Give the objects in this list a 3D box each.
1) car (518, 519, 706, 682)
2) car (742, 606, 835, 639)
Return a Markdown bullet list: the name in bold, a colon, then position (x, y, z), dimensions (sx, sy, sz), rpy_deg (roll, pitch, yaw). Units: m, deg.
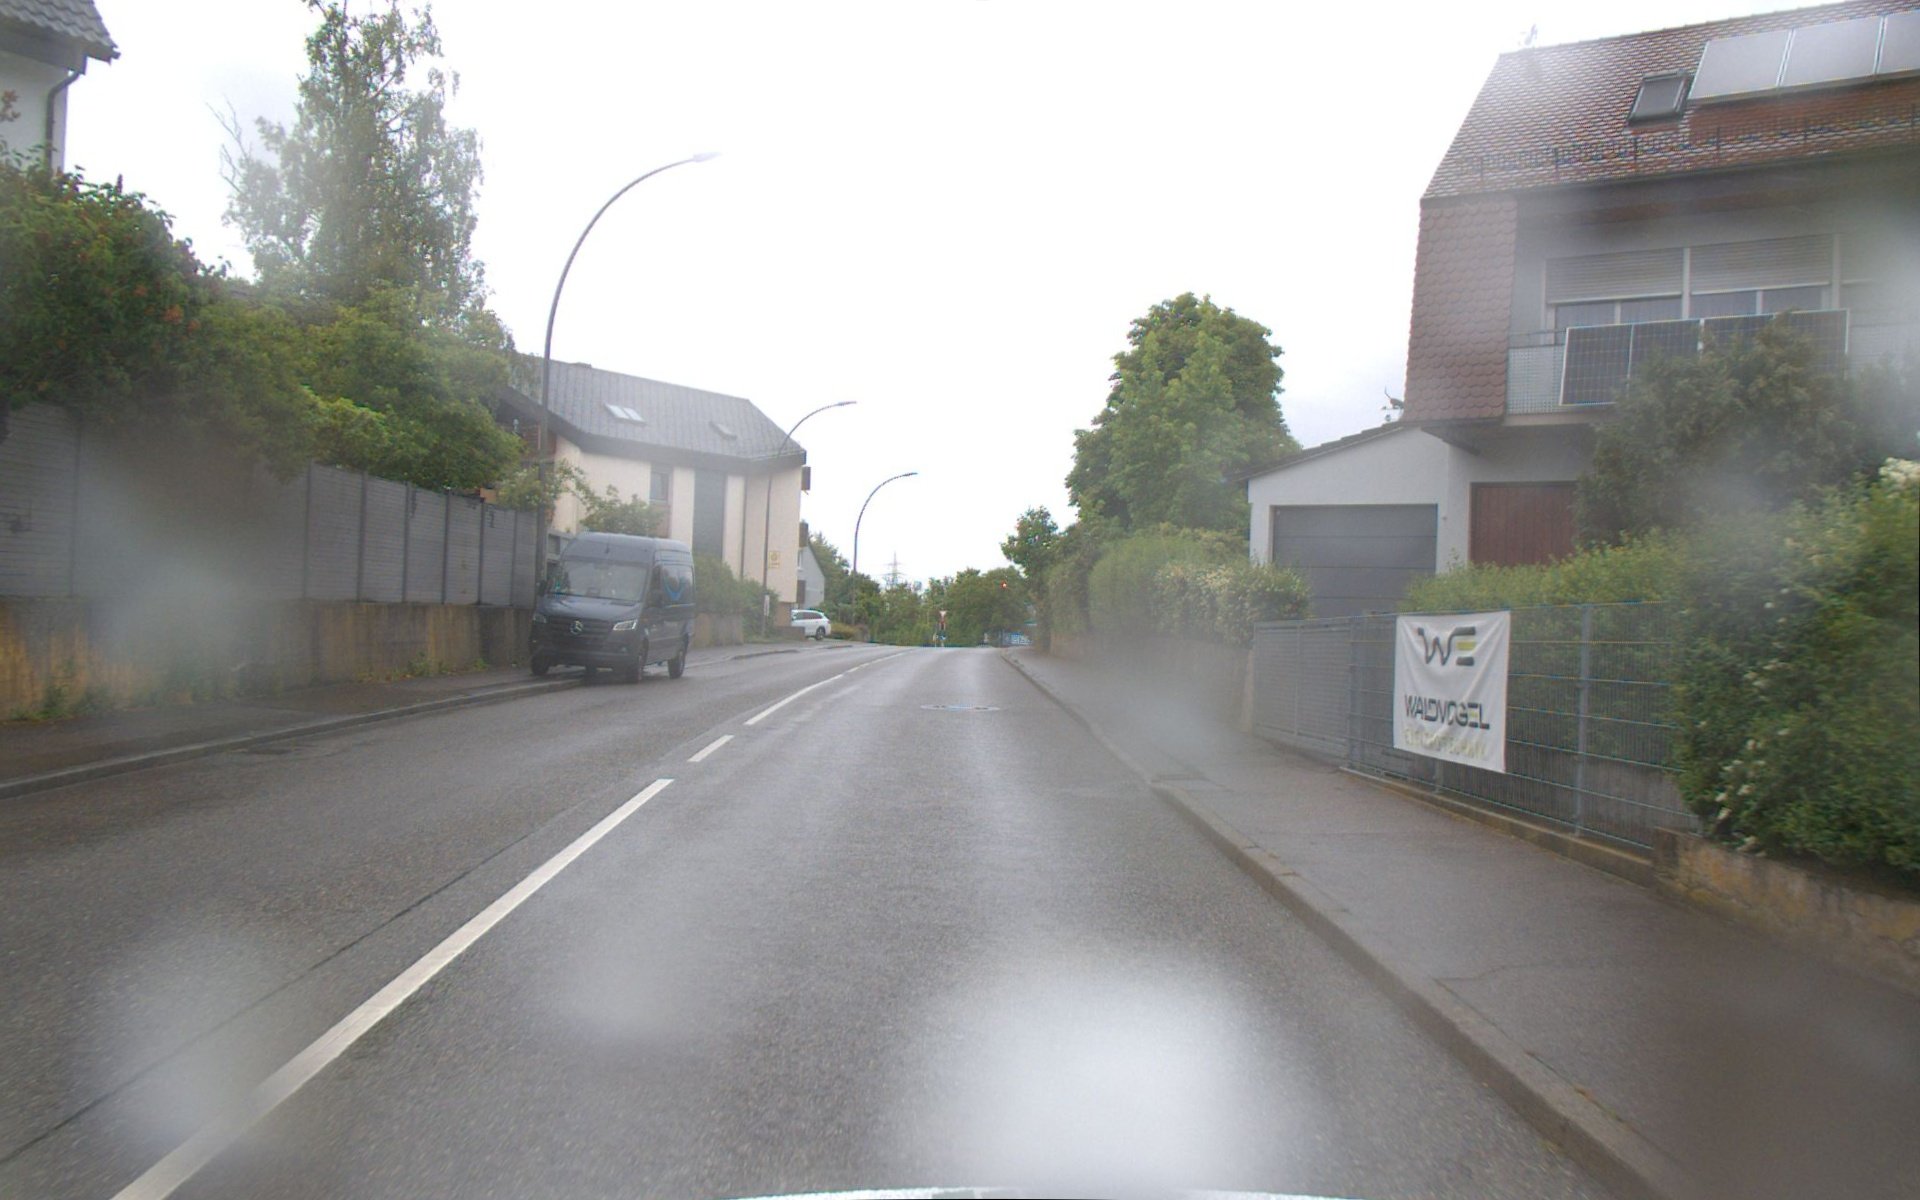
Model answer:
- **car**: position (-6.413, 0.024, 31.280), dimensions (2.051, 2.695, 5.919), rpy_deg (3, 0, 2)
- **car**: position (-8.612, 1.133, 83.459), dimensions (1.869, 1.503, 4.864), rpy_deg (2, 0, 35)
